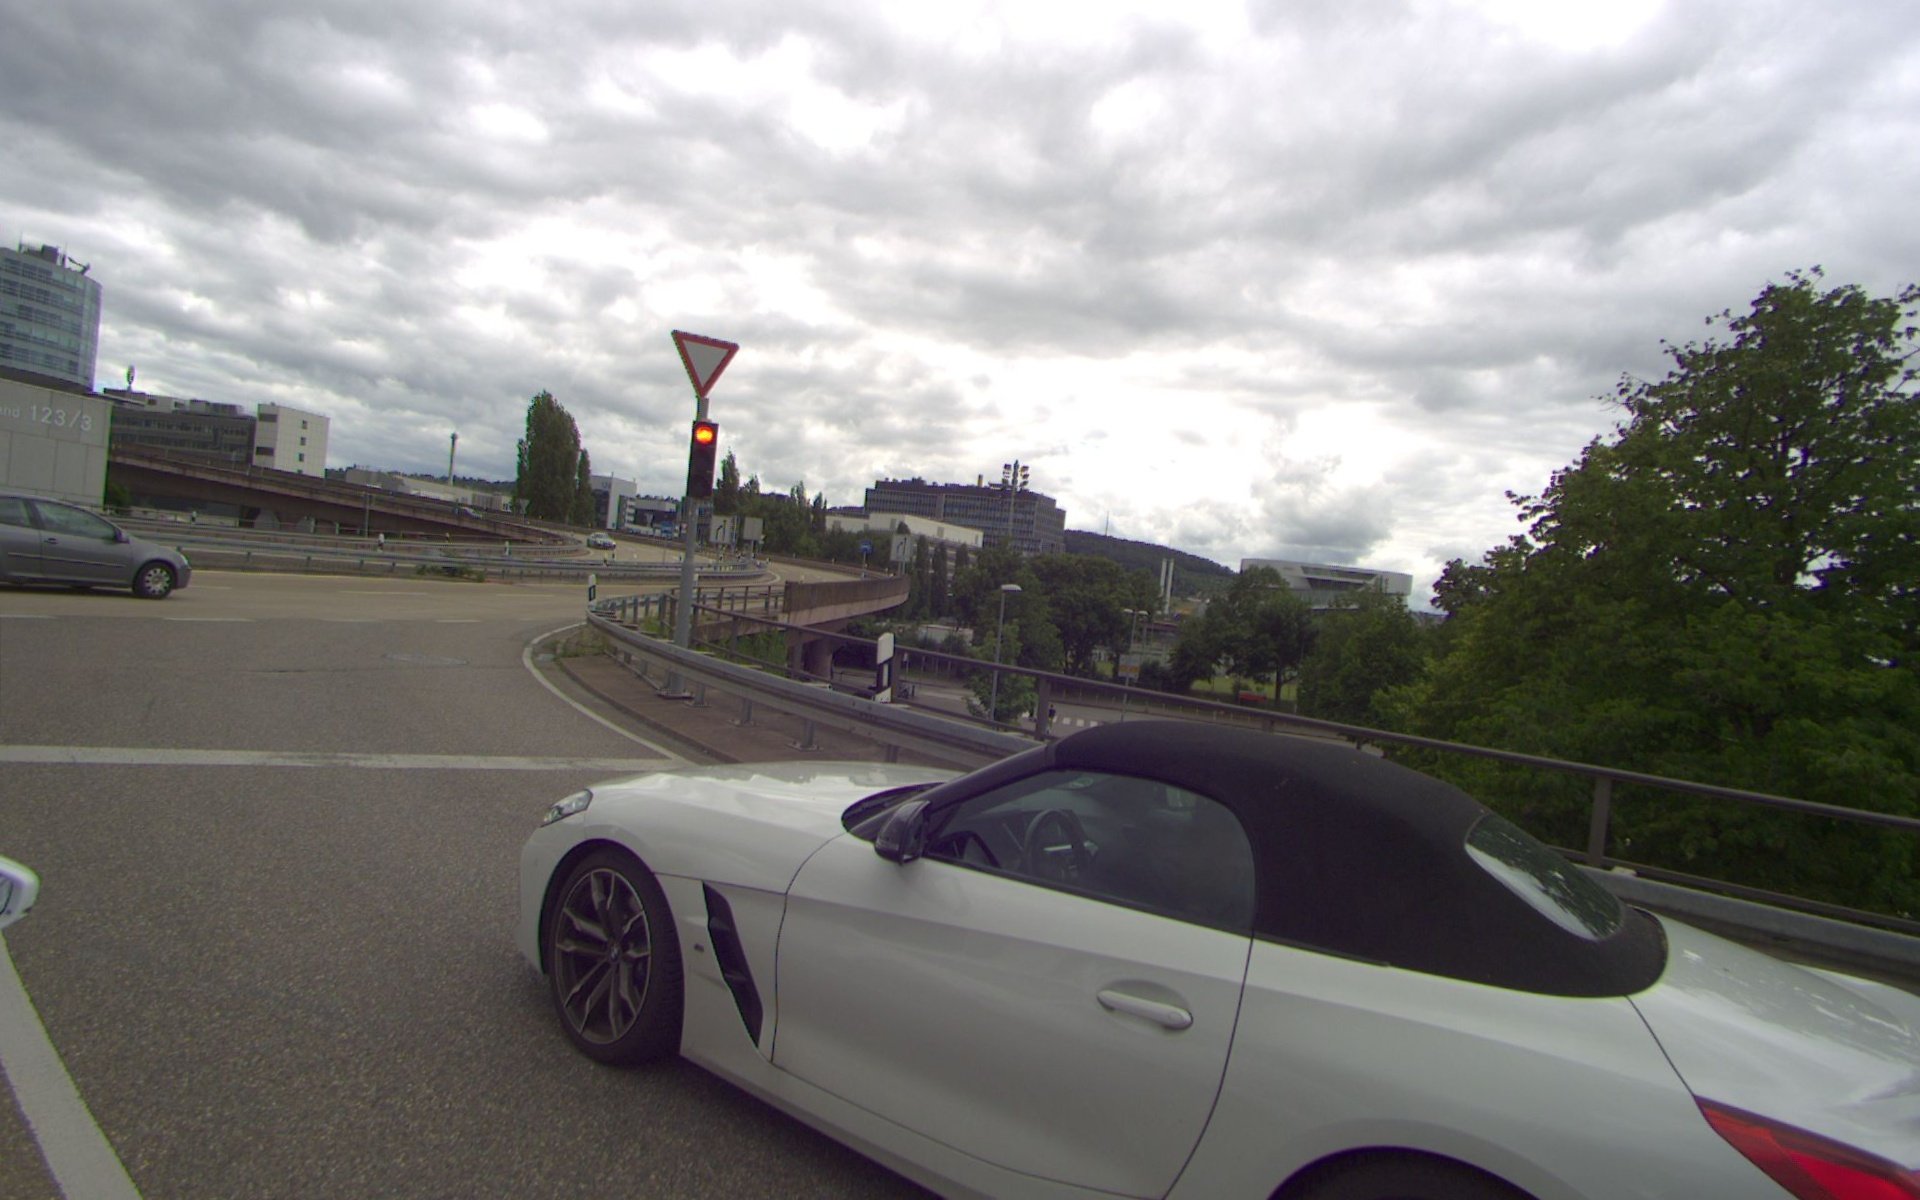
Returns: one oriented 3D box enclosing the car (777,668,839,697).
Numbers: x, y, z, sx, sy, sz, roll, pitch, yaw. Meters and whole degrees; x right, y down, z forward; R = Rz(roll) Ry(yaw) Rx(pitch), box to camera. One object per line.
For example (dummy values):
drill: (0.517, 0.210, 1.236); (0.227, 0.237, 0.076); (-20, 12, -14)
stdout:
car: (-10.500, 5.698, 69.576); (3.792, 1.371, 1.826); (8, 1, 2)

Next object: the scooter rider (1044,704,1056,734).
scooter rider: (5.621, 7.450, 63.053); (0.481, 1.776, 0.548); (8, 2, 10)

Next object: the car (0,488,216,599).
car: (-14.130, -0.891, 15.374); (1.697, 1.480, 4.244); (7, 1, 14)

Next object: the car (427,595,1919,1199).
car: (0.403, 0.936, 3.171); (4.194, 1.306, 1.808); (7, -2, 34)

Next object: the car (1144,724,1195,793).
car: (10.351, 7.773, 49.910); (1.978, 2.617, 5.399); (10, -2, 11)

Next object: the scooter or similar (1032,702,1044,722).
scooter or similar: (5.329, 7.674, 69.047); (0.482, 1.199, 1.071); (8, 1, -4)

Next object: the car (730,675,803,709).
car: (-11.491, 5.468, 59.894); (3.792, 1.371, 1.826); (8, 1, 2)

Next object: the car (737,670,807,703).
car: (-11.619, 5.375, 62.355); (3.792, 1.371, 1.826); (8, 1, 2)

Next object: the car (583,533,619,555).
car: (-34.413, -5.376, 96.467); (1.900, 1.679, 4.704); (11, -4, -34)

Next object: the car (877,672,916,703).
car: (-4.305, 5.977, 68.953); (1.792, 1.553, 4.001); (8, 0, 7)

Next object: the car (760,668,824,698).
car: (-11.141, 5.491, 66.805); (3.792, 1.371, 1.826); (8, 1, 2)

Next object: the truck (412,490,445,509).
truck: (-93.621, -17.708, 177.227); (1.968, 2.194, 4.599); (7, -4, 35)

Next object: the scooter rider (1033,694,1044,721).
scooter rider: (5.370, 7.388, 69.018); (0.482, 1.761, 0.513); (8, 2, -5)

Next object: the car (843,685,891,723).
car: (-5.252, 5.878, 57.382); (1.792, 1.553, 4.001); (8, 0, 7)

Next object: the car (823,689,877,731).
car: (-5.716, 5.711, 52.594); (1.792, 1.553, 4.001); (8, 0, 7)

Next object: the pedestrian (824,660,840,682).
pedestrian: (-9.983, 5.552, 78.624); (0.898, 1.514, 0.750); (9, -3, 7)

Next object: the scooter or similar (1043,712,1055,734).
scooter or similar: (5.575, 7.726, 63.082); (0.481, 1.199, 1.073); (8, 1, 10)

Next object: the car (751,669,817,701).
car: (-11.296, 5.429, 64.689); (3.792, 1.371, 1.826); (8, 1, 2)

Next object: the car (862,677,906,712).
car: (-4.723, 5.874, 62.823); (1.792, 1.553, 4.196); (8, 0, 7)
